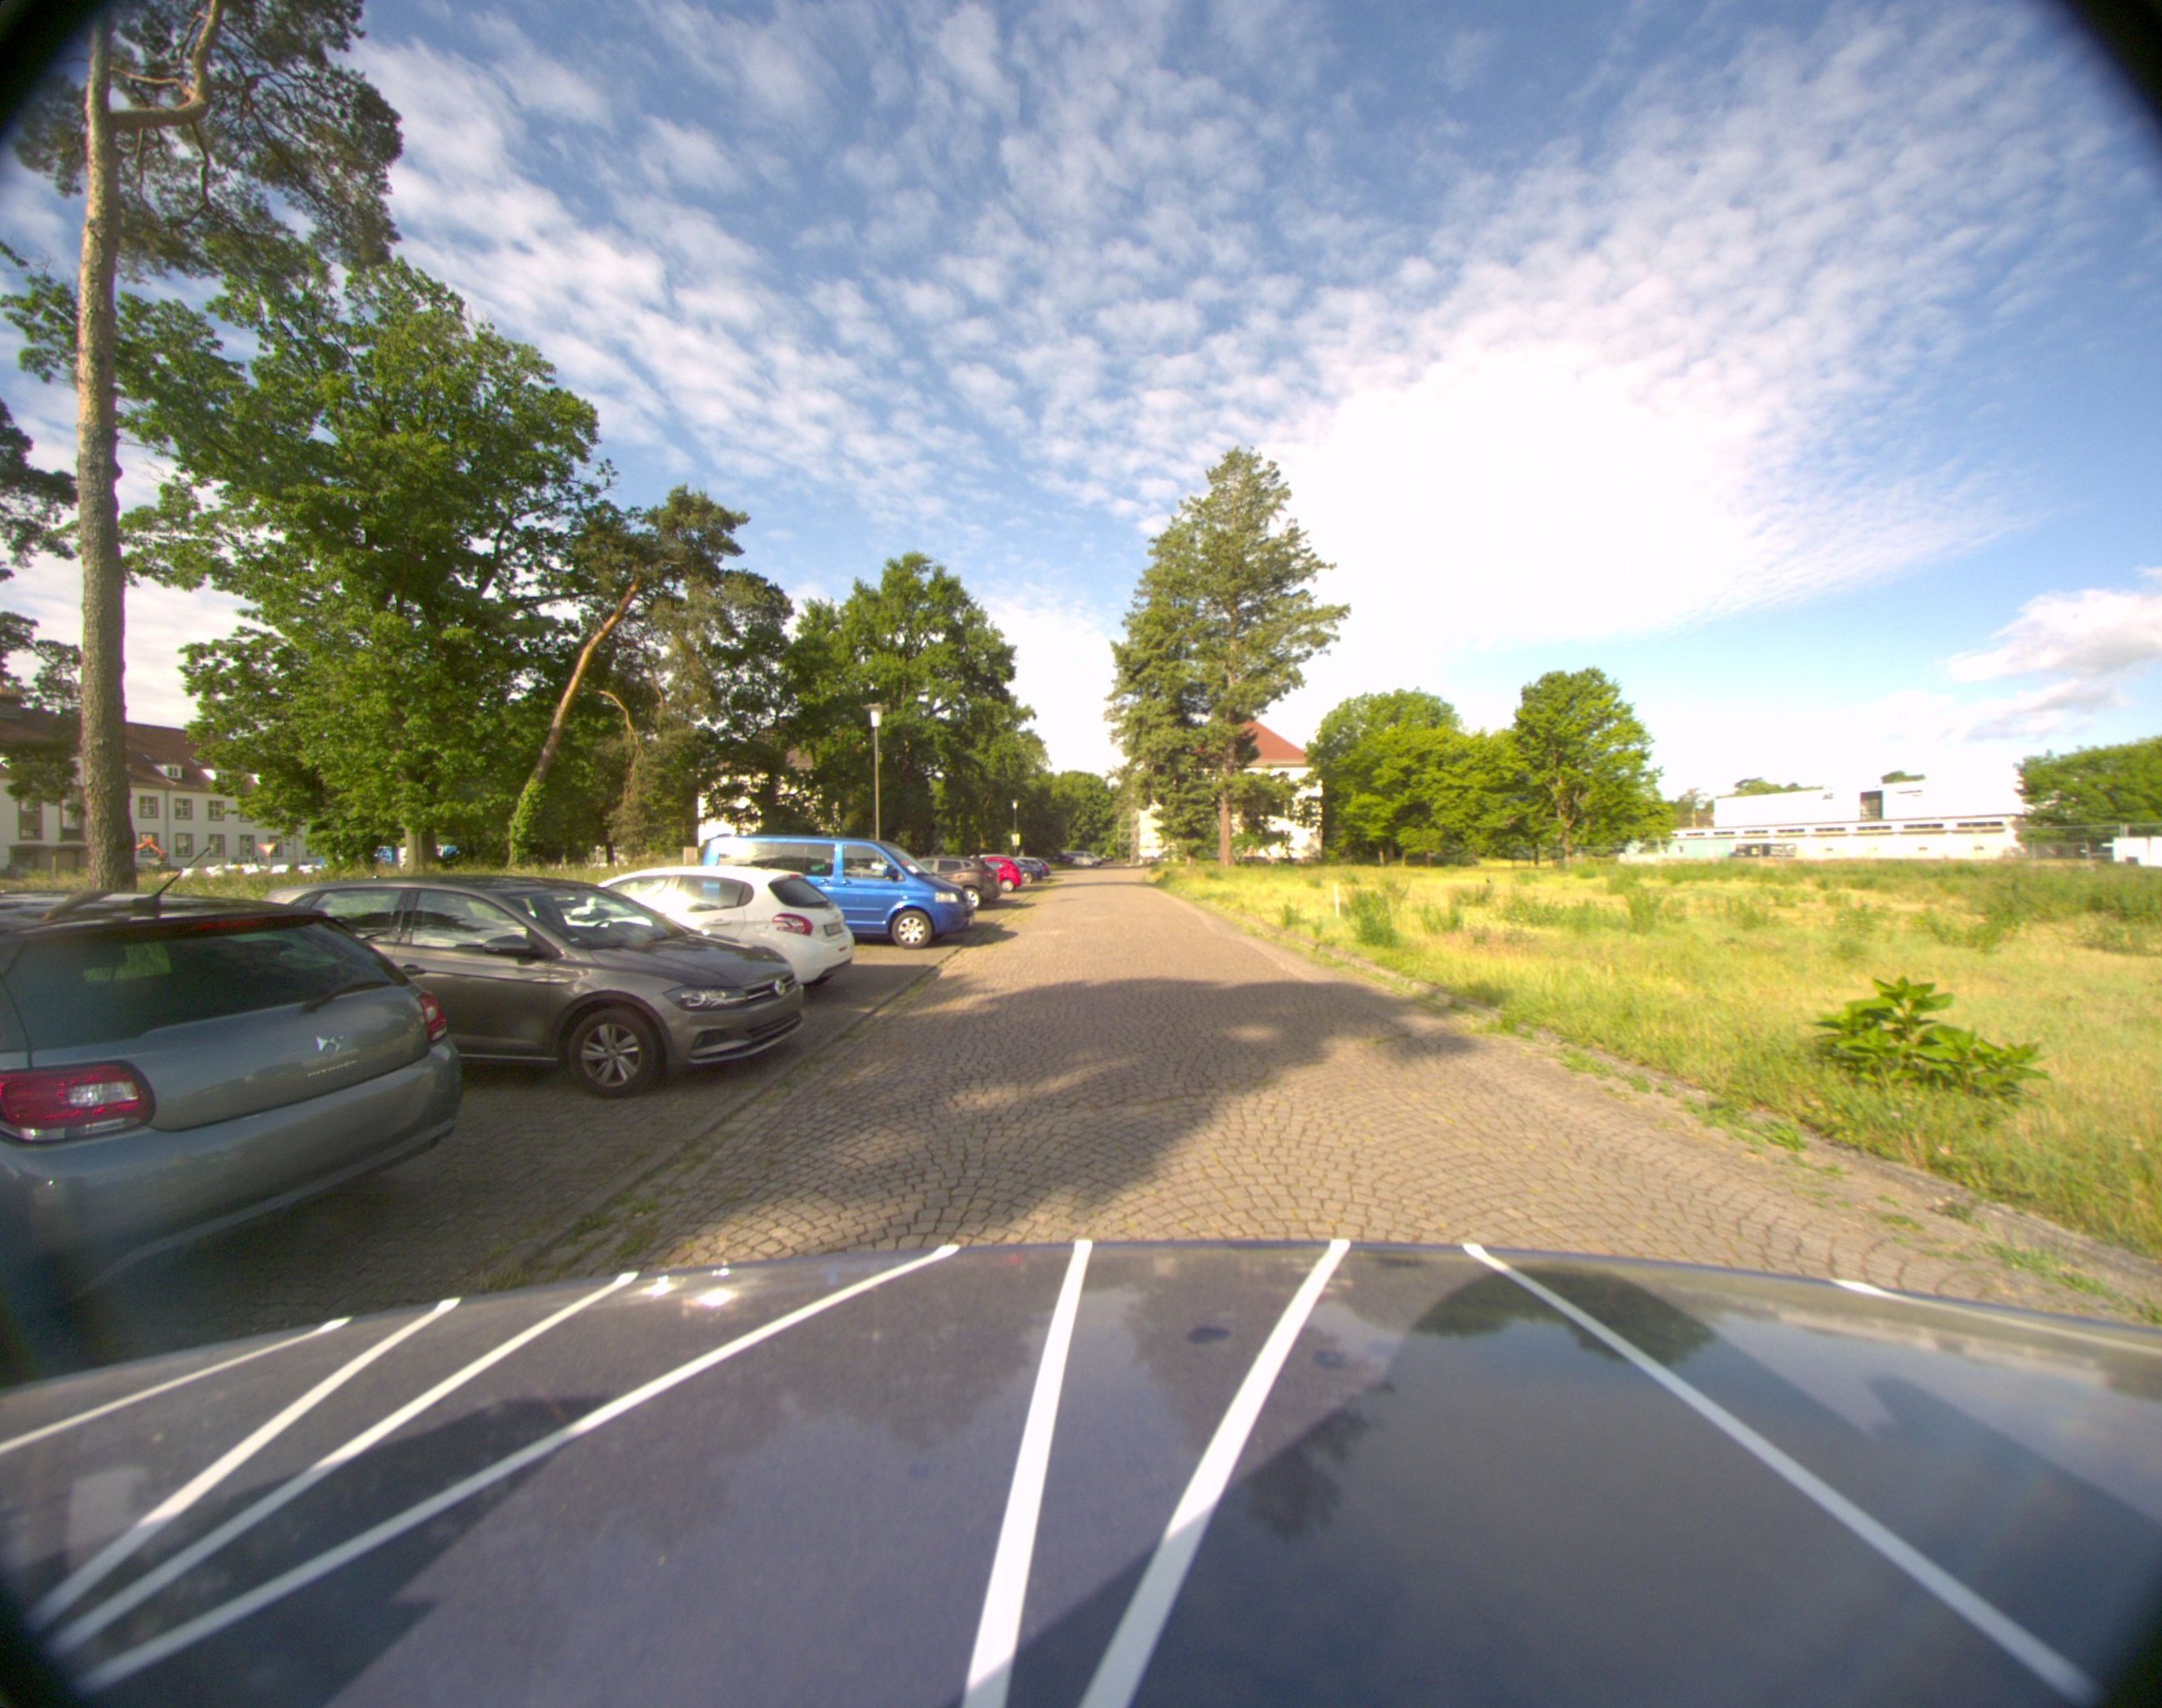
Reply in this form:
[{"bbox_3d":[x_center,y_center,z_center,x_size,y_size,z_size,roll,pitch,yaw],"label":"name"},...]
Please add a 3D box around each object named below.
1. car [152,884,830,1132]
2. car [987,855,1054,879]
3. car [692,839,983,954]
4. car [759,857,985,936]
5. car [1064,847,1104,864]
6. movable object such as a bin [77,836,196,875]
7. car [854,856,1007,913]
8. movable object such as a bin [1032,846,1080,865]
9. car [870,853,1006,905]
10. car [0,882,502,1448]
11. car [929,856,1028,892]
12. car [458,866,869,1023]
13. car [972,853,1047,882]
[{"bbox_3d":[-4.092,1.017,5.779,3.716,1.440,1.856,1,0,1],"label":"car"},{"bbox_3d":[-3.790,0.817,48.192,4.098,1.415,1.784,1,0,-1],"label":"car"},{"bbox_3d":[-4.307,0.722,14.038,4.710,1.924,2.000,1,1,0],"label":"car"},{"bbox_3d":[-4.446,0.883,16.660,4.408,1.568,1.939,1,1,0],"label":"car"},{"bbox_3d":[0.409,0.190,96.922,4.933,2.002,1.999,1,1,-5],"label":"car"},{"bbox_3d":[-88.410,0.140,71.302,6.460,3.282,2.859,-4,2,-42],"label":"movable object such as a bin"},{"bbox_3d":[-4.419,0.871,22.885,4.237,1.589,1.934,0,1,-2],"label":"car"},{"bbox_3d":[-2.711,0.138,84.004,4.865,2.002,2.002,-1,0,14],"label":"movable object such as a bin"},{"bbox_3d":[-4.736,0.800,25.594,4.237,1.589,1.934,1,1,-2],"label":"car"},{"bbox_3d":[-4.780,0.871,2.918,3.716,1.440,1.816,1,0,1],"label":"car"},{"bbox_3d":[-4.419,0.847,33.285,4.098,1.451,1.853,1,0,-1],"label":"car"},{"bbox_3d":[-4.549,0.942,8.690,3.716,1.525,1.761,1,0,1],"label":"car"},{"bbox_3d":[-4.068,0.755,43.506,4.098,1.548,1.853,1,0,-1],"label":"car"}]
